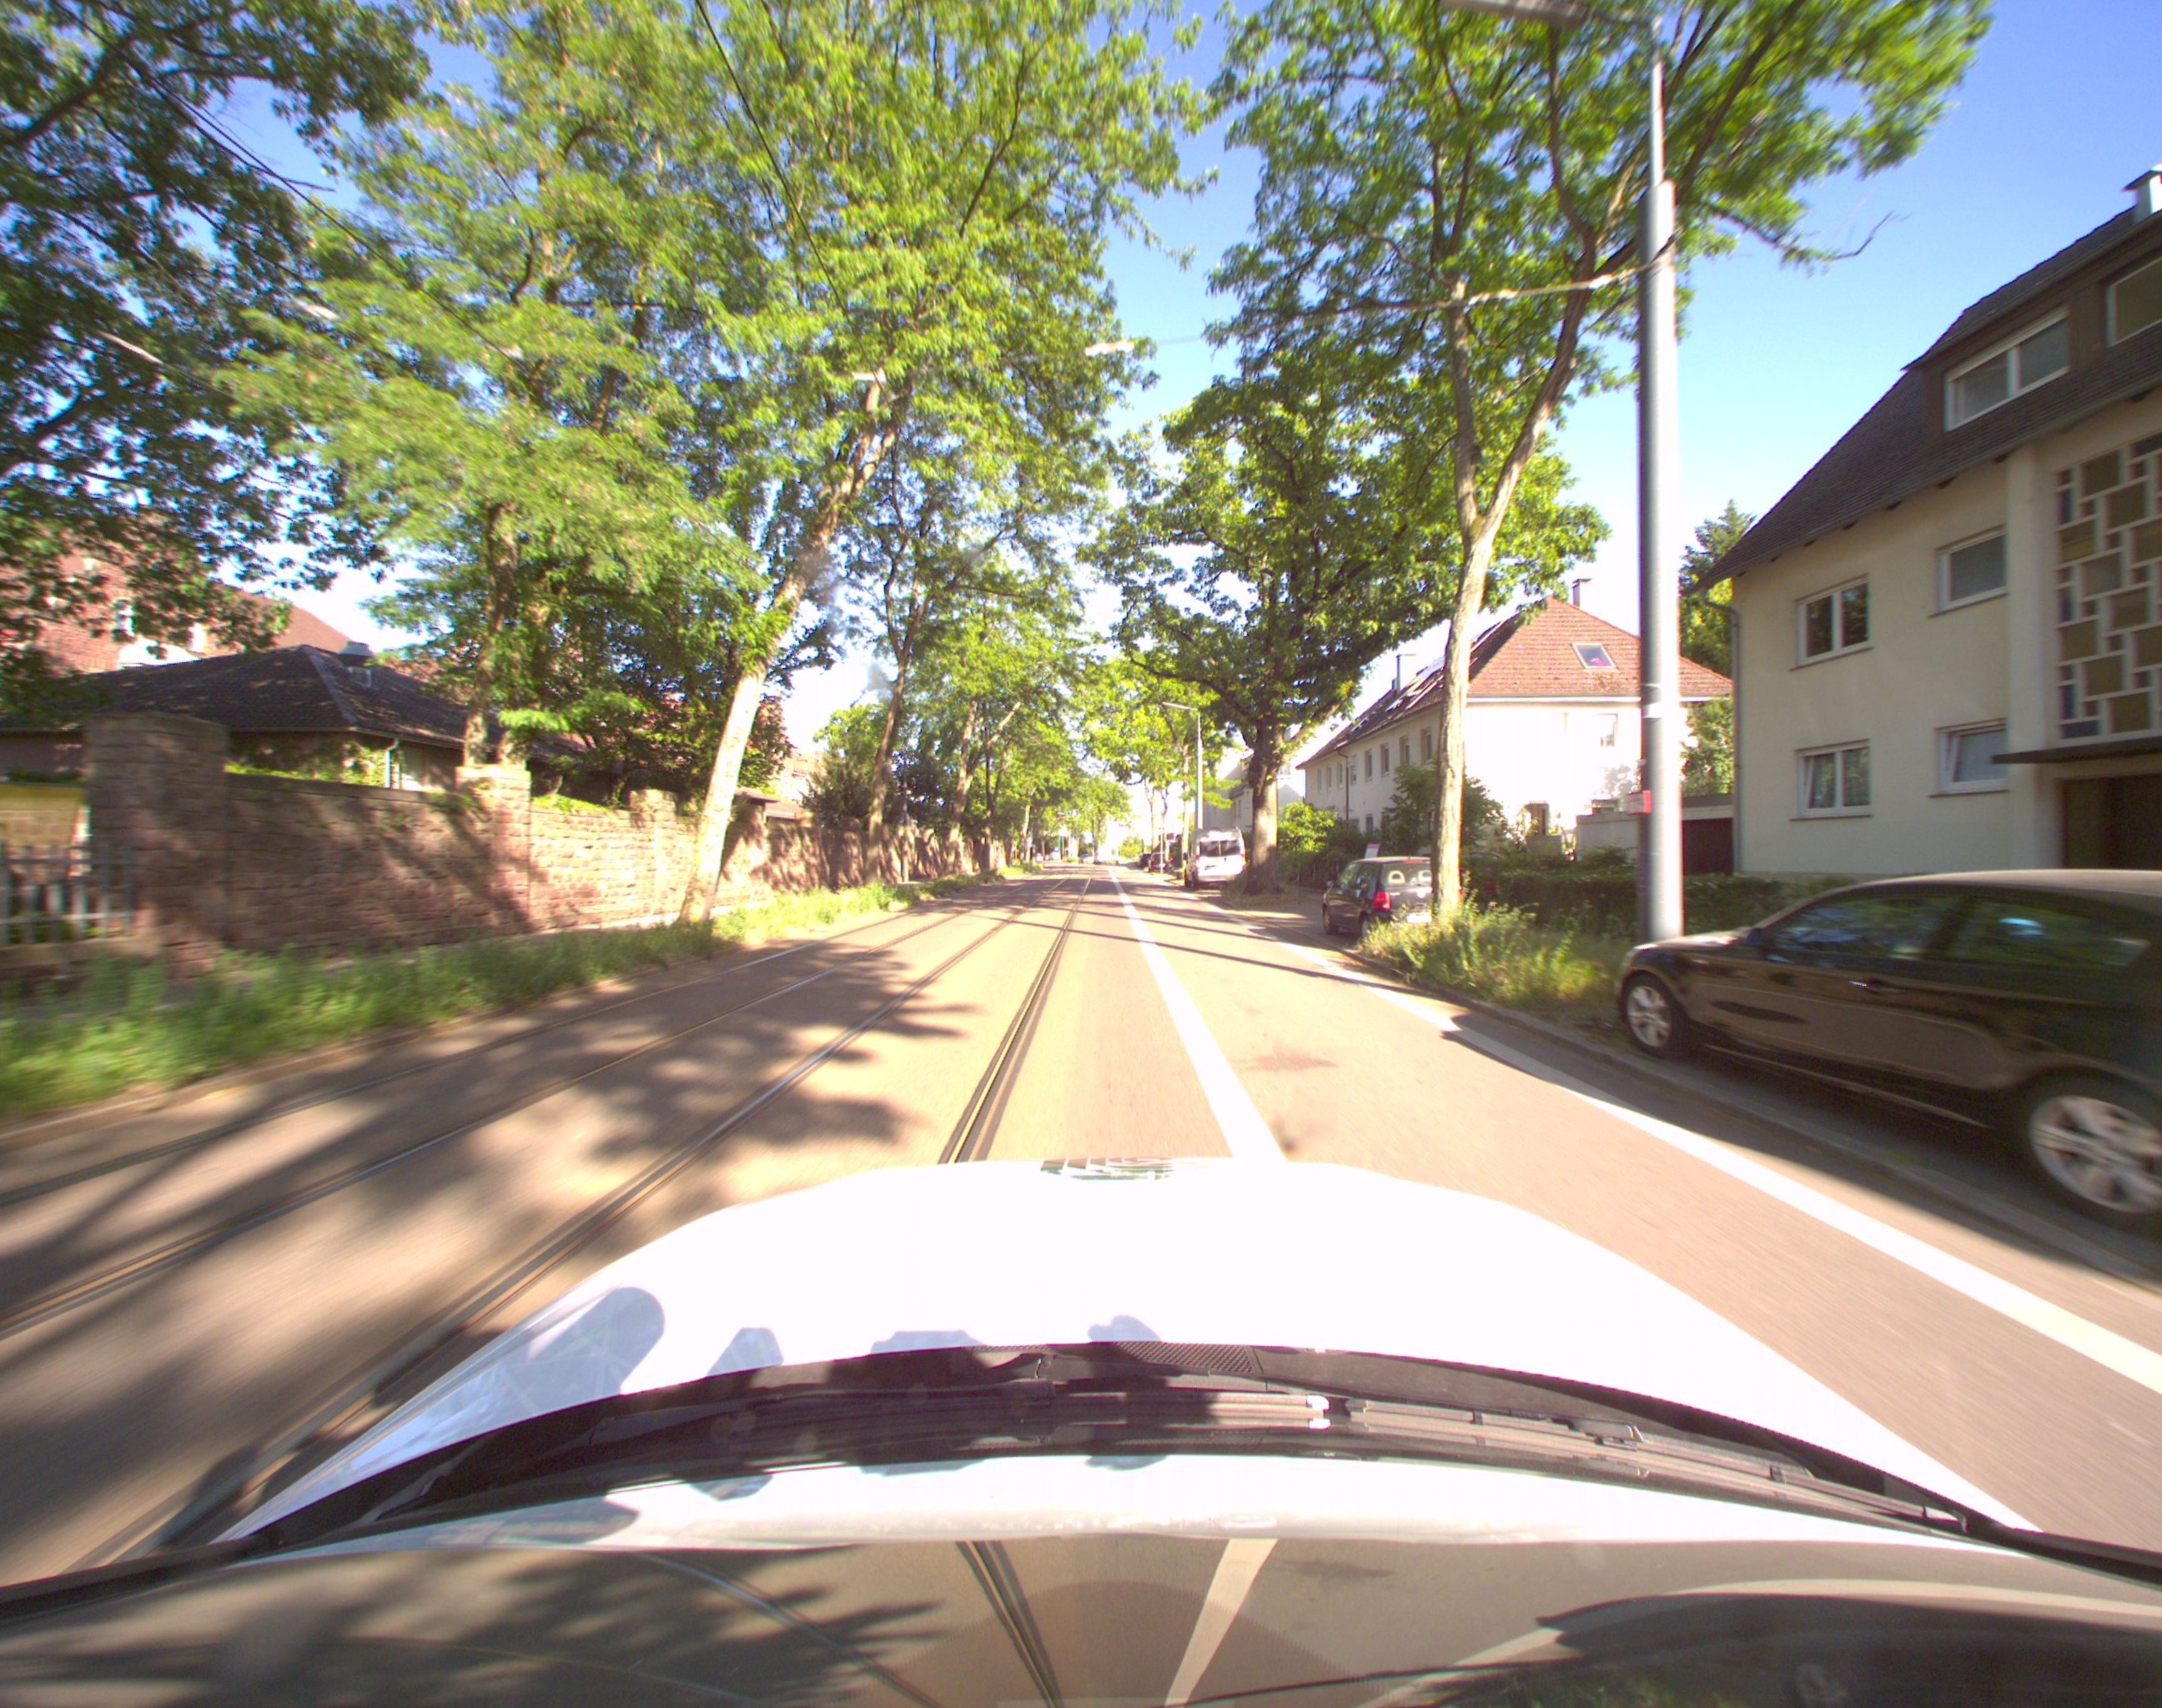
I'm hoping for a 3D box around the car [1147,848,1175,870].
[{"bbox_3d":[6.625,0.393,67.760,1.996,1.675,4.393,-2,0,1],"label":"car"}]

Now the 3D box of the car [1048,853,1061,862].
[{"bbox_3d":[-6.225,0.812,188.551,2.007,1.910,4.368,-2,0,-16],"label":"car"}]

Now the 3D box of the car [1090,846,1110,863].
[{"bbox_3d":[2.783,0.008,121.494,1.995,2.458,4.491,-1,0,-11],"label":"car"}]

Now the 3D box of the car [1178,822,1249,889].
[{"bbox_3d":[5.713,0.052,35.823,2.237,2.654,5.586,-2,0,1],"label":"car"}]

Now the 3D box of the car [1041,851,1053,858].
[{"bbox_3d":[-8.192,0.069,195.001,2.007,1.675,4.149,-2,0,-16],"label":"car"}]

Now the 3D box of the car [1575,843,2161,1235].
[{"bbox_3d":[5.083,0.714,4.704,1.778,1.448,4.300,-3,0,0],"label":"car"}]

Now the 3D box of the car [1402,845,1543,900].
[{"bbox_3d":[11.490,0.526,23.984,3.400,1.436,1.727,-2,0,-12],"label":"car"}]

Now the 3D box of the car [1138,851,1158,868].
[{"bbox_3d":[7.078,0.541,85.286,1.993,1.675,4.399,-2,0,5],"label":"car"}]

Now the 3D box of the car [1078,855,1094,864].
[{"bbox_3d":[0.830,0.894,139.273,2.004,1.560,4.375,-1,0,-11],"label":"car"}]

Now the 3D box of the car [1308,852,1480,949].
[{"bbox_3d":[5.333,0.713,14.376,1.621,1.397,3.646,-3,0,1],"label":"car"}]

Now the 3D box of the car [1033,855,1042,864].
[{"bbox_3d":[-9.015,1.164,168.581,1.861,1.675,4.170,-1,0,-2],"label":"car"}]
